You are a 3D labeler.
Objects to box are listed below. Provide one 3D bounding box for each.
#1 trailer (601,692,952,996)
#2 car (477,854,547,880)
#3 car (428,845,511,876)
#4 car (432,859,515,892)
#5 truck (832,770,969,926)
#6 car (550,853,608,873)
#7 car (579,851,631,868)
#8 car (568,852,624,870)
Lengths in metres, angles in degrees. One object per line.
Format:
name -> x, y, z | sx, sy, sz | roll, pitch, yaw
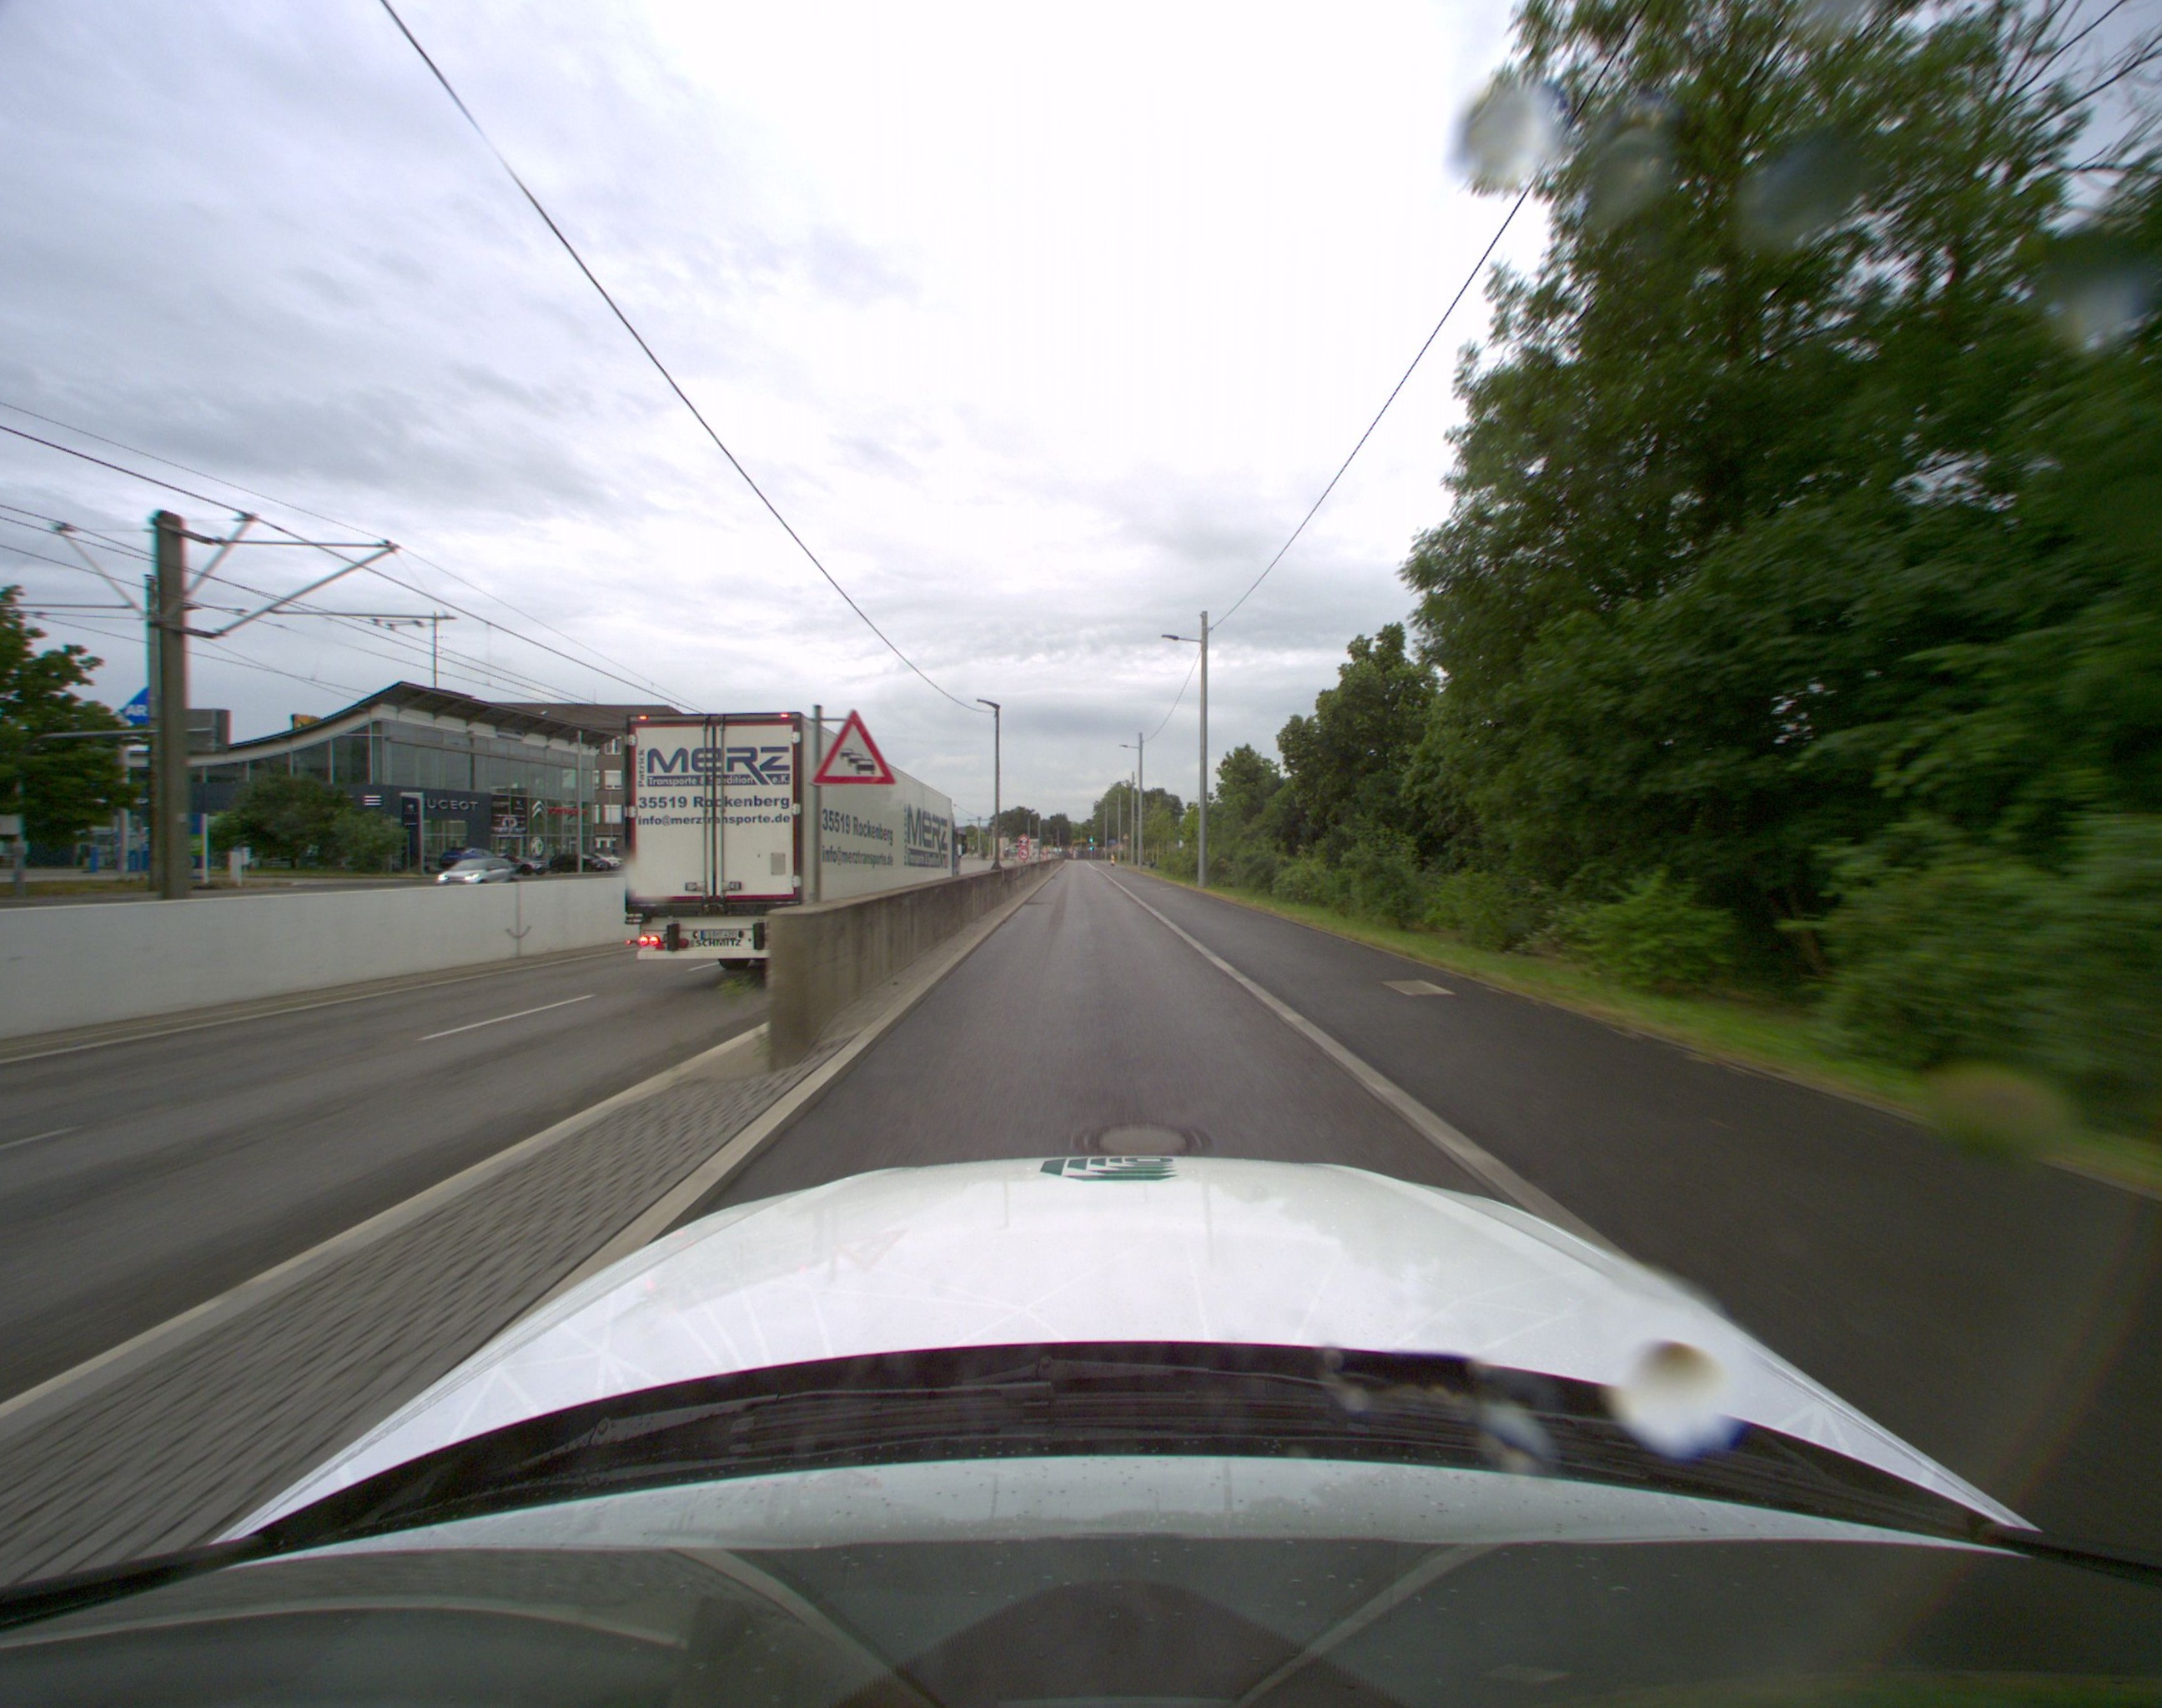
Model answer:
trailer -> -5.367, -0.188, 18.179 | 2.753, 4.252, 13.182 | -1, 0, 0
car -> -39.471, 0.897, 56.557 | 3.496, 1.402, 1.572 | -5, 2, -4
car -> -38.953, 0.450, 52.030 | 1.751, 1.610, 4.075 | 0, -5, 9
car -> -25.454, 0.866, 34.226 | 1.377, 1.299, 2.801 | 0, 0, 0
truck -> -5.371, -0.189, 25.382 | 2.747, 4.204, 6.305 | -1, 0, 0
car -> -39.715, 0.702, 64.448 | 3.469, 1.474, 1.750 | -1, 0, -1
car -> -40.466, 0.471, 69.285 | 3.473, 1.382, 1.616 | -2, 0, -4
car -> -39.911, 0.545, 67.084 | 3.469, 1.397, 1.750 | -1, 0, -1
